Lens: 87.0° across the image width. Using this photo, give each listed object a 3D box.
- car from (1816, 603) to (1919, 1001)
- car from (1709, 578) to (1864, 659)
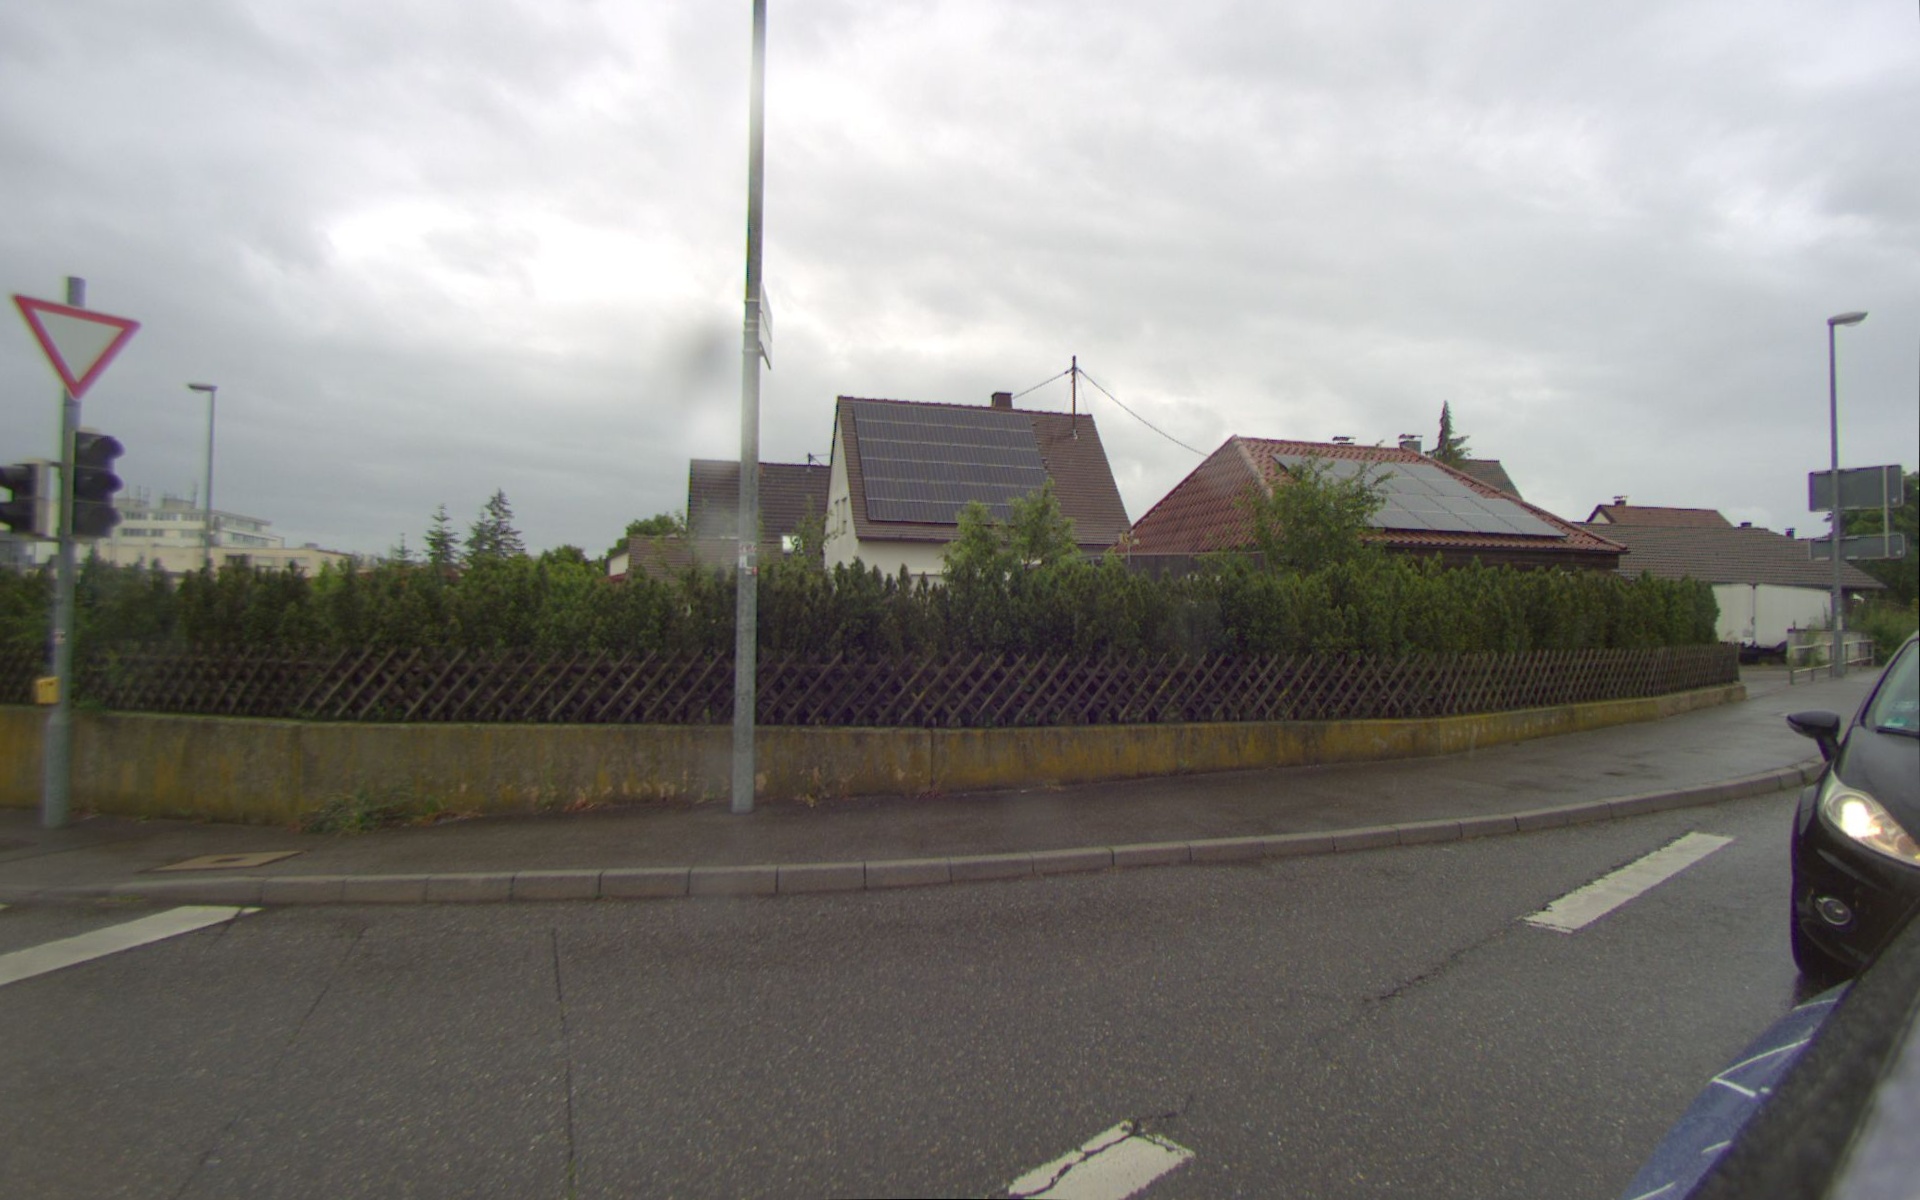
[{"bbox_3d":[5.346,0.758,4.698,3.867,1.436,1.663,-1,0,-43],"label":"car"},{"bbox_3d":[25.430,0.543,31.173,3.916,2.380,1.657,0,-1,-14],"label":"car"}]
